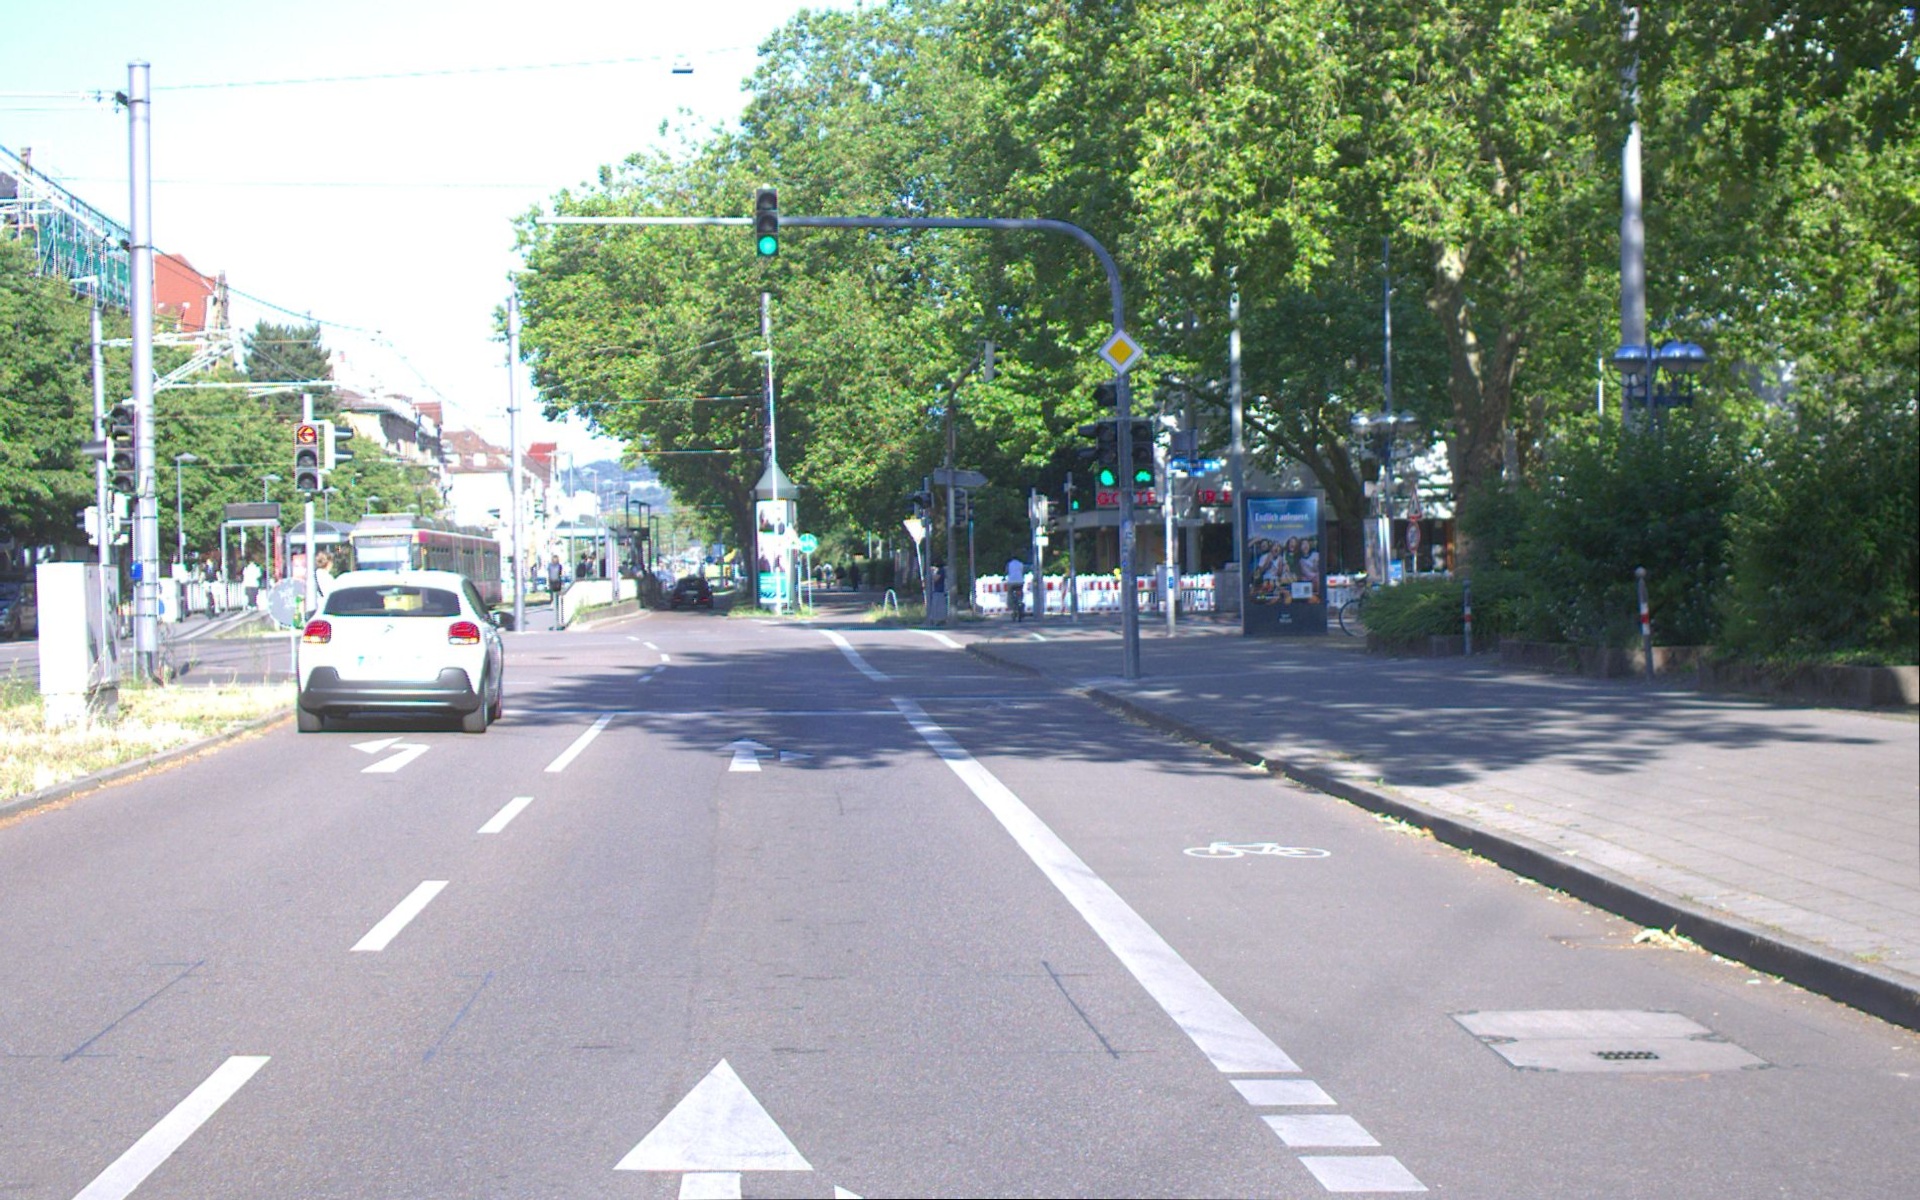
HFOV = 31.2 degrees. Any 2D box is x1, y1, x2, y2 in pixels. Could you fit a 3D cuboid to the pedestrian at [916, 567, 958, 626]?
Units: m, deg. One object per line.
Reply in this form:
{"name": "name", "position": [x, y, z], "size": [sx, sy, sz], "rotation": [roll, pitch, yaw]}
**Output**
{"name": "pedestrian", "position": [-0.544, -0.084, 81.656], "size": [0.660, 1.383, 0.831], "rotation": [1, 1, 29]}

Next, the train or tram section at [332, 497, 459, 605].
{"name": "train or tram section", "position": [-18.897, -1.647, 115.707], "size": [2.952, 3.398, 10.792], "rotation": [1, 1, -3]}

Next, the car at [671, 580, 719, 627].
{"name": "car", "position": [-11.952, 0.147, 155.313], "size": [1.993, 2.007, 4.001], "rotation": [1, 1, -3]}

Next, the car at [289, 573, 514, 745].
{"name": "car", "position": [-5.172, 0.511, 32.201], "size": [1.745, 1.457, 3.645], "rotation": [1, 1, -4]}

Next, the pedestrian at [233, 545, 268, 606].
{"name": "pedestrian", "position": [-21.694, -0.755, 105.098], "size": [0.962, 1.827, 0.990], "rotation": [1, 1, -9]}

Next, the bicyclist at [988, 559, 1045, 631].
{"name": "bicyclist", "position": [1.340, -0.122, 82.014], "size": [1.198, 1.691, 0.904], "rotation": [1, 1, -9]}

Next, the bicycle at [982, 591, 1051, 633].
{"name": "bicycle", "position": [1.338, 0.270, 82.022], "size": [1.198, 0.931, 2.575], "rotation": [1, 1, -9]}
